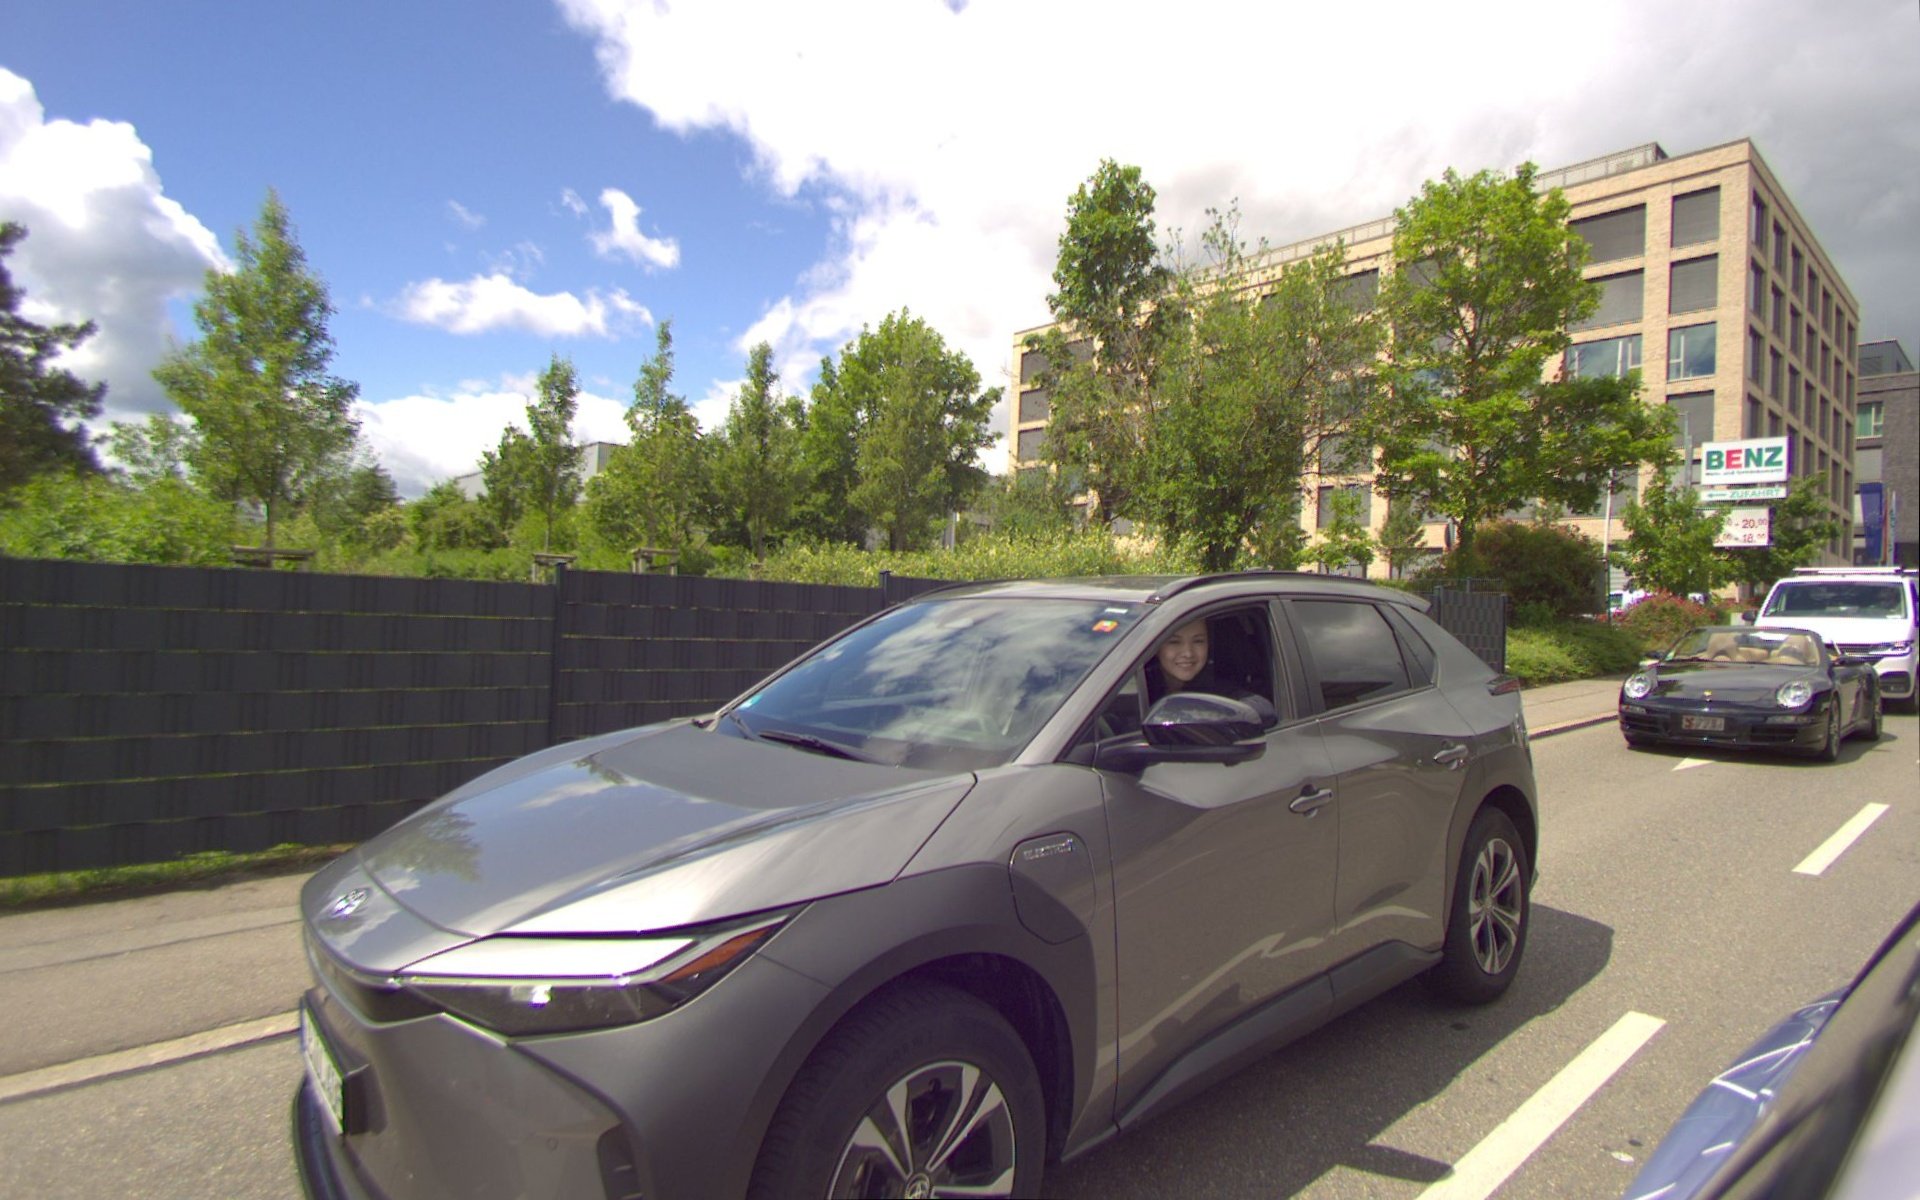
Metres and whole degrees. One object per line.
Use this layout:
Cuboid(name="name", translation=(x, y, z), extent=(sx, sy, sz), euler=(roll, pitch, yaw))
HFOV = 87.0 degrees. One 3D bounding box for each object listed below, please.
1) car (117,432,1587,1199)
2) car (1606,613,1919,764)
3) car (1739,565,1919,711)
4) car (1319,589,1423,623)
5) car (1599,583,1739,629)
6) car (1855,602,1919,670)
Cuboid(name="car", translation=(0.206, 0.646, 3.370), extent=(4.601, 1.634, 1.922), euler=(0, -1, -41))
Cuboid(name="car", translation=(8.777, 0.793, 10.926), extent=(4.487, 1.290, 1.776), euler=(0, -1, -40))
Cuboid(name="car", translation=(13.510, 0.506, 15.222), extent=(4.563, 1.874, 1.962), euler=(0, -1, -41))
Cuboid(name="car", translation=(19.367, 0.272, 47.824), extent=(1.705, 1.436, 4.215), euler=(1, 1, -41))
Cuboid(name="car", translation=(27.434, 0.208, 39.260), extent=(1.707, 1.596, 4.211), euler=(1, 1, -44))
Cuboid(name="car", translation=(20.509, 0.714, 21.232), extent=(4.485, 1.290, 1.778), euler=(0, 1, -38))
